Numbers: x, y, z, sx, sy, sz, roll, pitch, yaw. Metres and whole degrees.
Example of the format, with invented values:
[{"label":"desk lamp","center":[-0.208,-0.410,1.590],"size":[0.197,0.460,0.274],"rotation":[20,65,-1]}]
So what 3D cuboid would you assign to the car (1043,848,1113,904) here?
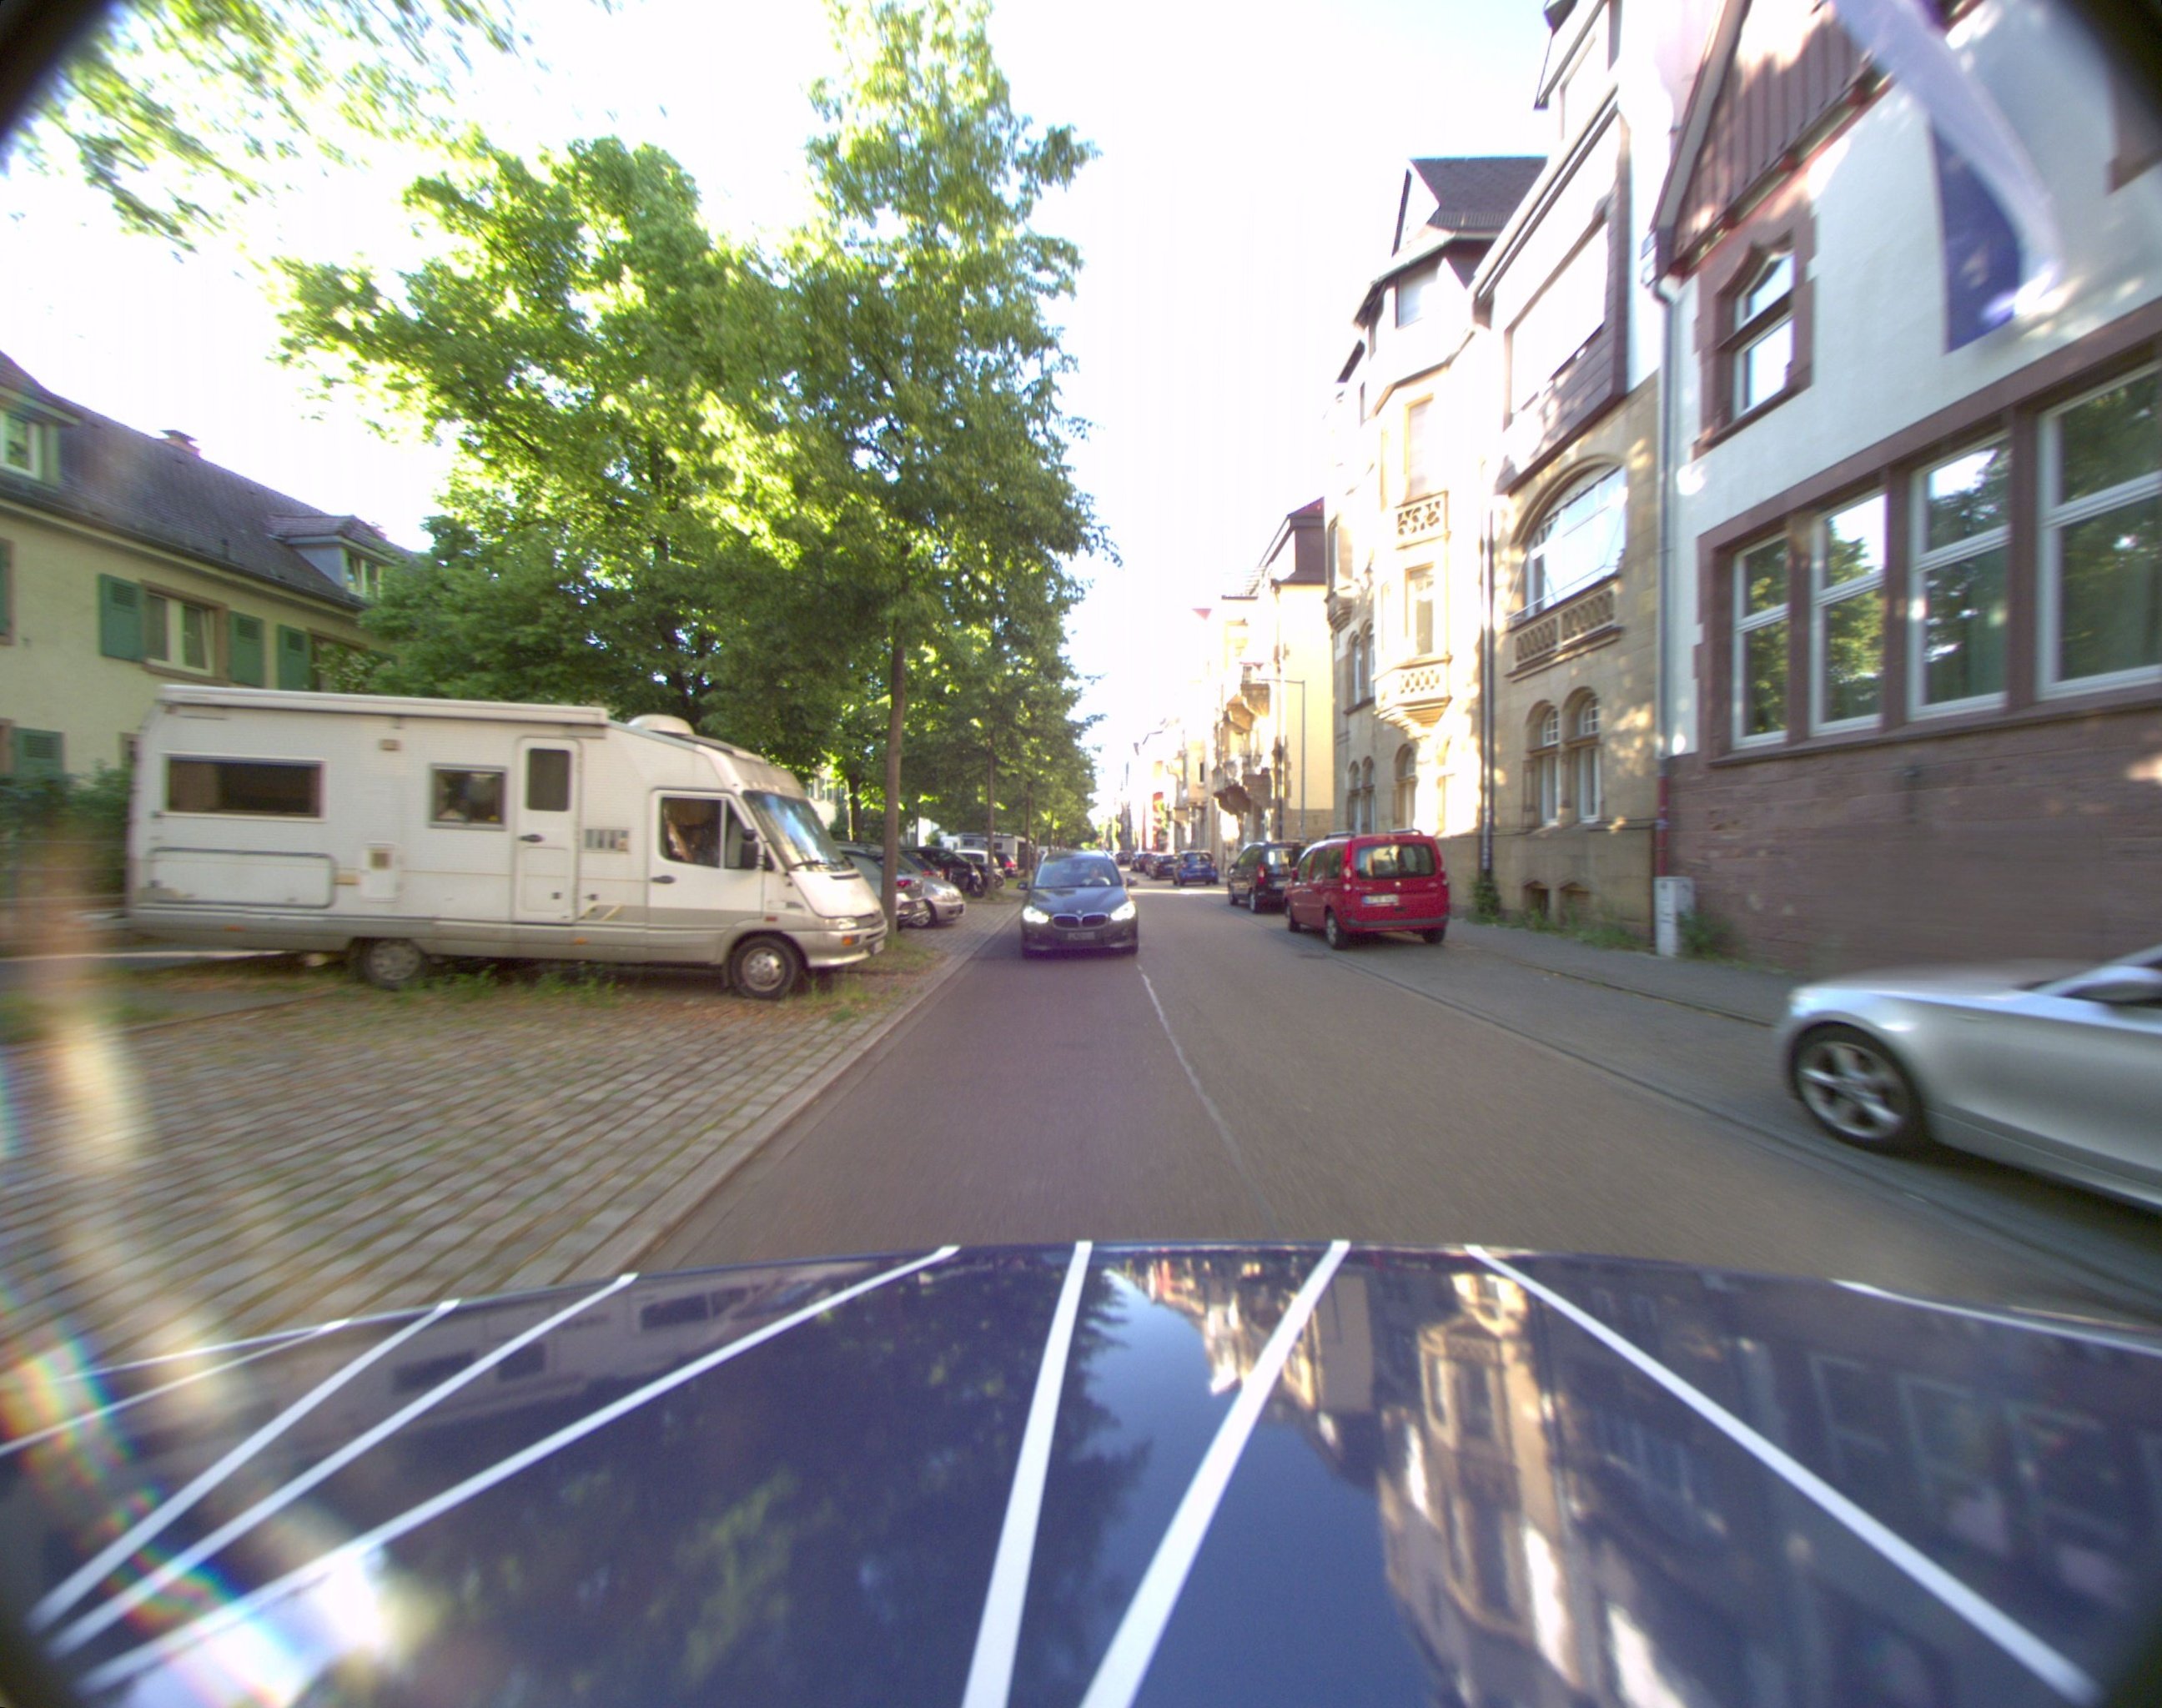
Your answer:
[{"label":"car","center":[-0.180,0.654,24.863],"size":[1.999,1.584,4.261],"rotation":[-2,0,-3]}]

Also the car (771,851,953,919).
[{"label":"car","center":[-5.139,0.714,18.232],"size":[3.887,1.464,1.786],"rotation":[1,1,-5]}]

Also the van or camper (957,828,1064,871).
[{"label":"van or camper","center":[-4.866,-0.370,53.278],"size":[7.266,2.888,2.427],"rotation":[0,2,0]}]

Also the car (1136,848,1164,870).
[{"label":"car","center":[5.000,0.308,55.410],"size":[1.747,1.457,3.998],"rotation":[-2,1,1]}]

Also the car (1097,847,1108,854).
[{"label":"car","center":[5.394,-0.935,188.429],"size":[2.000,1.529,3.997],"rotation":[-3,1,-8]}]

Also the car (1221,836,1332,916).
[{"label":"car","center":[5.006,0.503,20.128],"size":[1.774,1.841,4.541],"rotation":[-2,1,1]}]

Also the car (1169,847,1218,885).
[{"label":"car","center":[4.913,0.486,33.444],"size":[1.688,1.500,2.861],"rotation":[-4,1,1]}]

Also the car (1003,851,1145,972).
[{"label":"car","center":[-0.066,0.811,13.057],"size":[1.924,1.597,4.516],"rotation":[-3,1,1]}]

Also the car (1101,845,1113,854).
[{"label":"car","center":[4.609,-0.750,135.991],"size":[1.987,1.549,3.832],"rotation":[0,1,0]}]

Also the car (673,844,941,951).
[{"label":"car","center":[-4.698,0.698,13.426],"size":[3.971,1.590,1.903],"rotation":[2,2,3]}]

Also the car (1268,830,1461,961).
[{"label":"car","center":[4.770,0.595,13.515],"size":[1.803,1.896,4.324],"rotation":[-2,1,1]}]

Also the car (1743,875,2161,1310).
[{"label":"car","center":[4.749,0.893,2.356],"size":[1.748,1.458,4.102],"rotation":[-1,1,-2]}]

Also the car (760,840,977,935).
[{"label":"car","center":[-4.257,0.639,15.649],"size":[3.924,1.734,1.729],"rotation":[2,1,0]}]

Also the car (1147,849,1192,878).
[{"label":"car","center":[4.890,0.487,42.452],"size":[1.905,1.430,4.541],"rotation":[-4,1,0]}]

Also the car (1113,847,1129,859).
[{"label":"car","center":[5.390,-0.130,103.592],"size":[1.922,1.510,3.999],"rotation":[0,1,0]}]

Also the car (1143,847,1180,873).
[{"label":"car","center":[5.077,0.356,48.318],"size":[1.694,1.458,3.772],"rotation":[-5,1,-2]}]

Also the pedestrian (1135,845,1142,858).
[{"label":"pedestrian","center":[7.496,-0.308,99.206],"size":[0.779,1.693,1.010],"rotation":[0,1,0]}]

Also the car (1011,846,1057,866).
[{"label":"car","center":[-4.293,0.165,69.856],"size":[3.997,1.804,2.000],"rotation":[0,1,1]}]

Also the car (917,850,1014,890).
[{"label":"car","center":[-4.390,0.595,29.307],"size":[3.456,1.467,1.693],"rotation":[1,1,0]}]

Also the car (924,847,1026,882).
[{"label":"car","center":[-4.898,0.454,35.455],"size":[4.468,1.469,1.753],"rotation":[2,1,1]}]

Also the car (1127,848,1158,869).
[{"label":"car","center":[4.965,0.356,61.694],"size":[1.893,1.448,4.510],"rotation":[-5,0,-2]}]

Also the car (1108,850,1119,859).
[{"label":"car","center":[5.287,0.043,123.738],"size":[1.702,1.372,3.999],"rotation":[0,1,0]}]

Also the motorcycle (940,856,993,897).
[{"label":"motorcycle","center":[-3.550,0.677,23.443],"size":[0.739,1.190,1.771],"rotation":[-1,1,-44]}]

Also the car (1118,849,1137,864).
[{"label":"car","center":[5.308,0.293,87.553],"size":[1.862,1.595,3.999],"rotation":[-3,1,0]}]

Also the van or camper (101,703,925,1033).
[{"label":"van or camper","center":[-5.523,0.098,8.403],"size":[7.095,3.060,2.464],"rotation":[0,1,-2]}]

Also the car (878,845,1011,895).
[{"label":"car","center":[-4.709,0.547,26.719],"size":[4.344,1.599,1.927],"rotation":[1,1,-1]}]

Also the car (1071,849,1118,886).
[{"label":"car","center":[0.619,0.588,35.752],"size":[1.998,1.510,4.651],"rotation":[-3,1,1]}]
